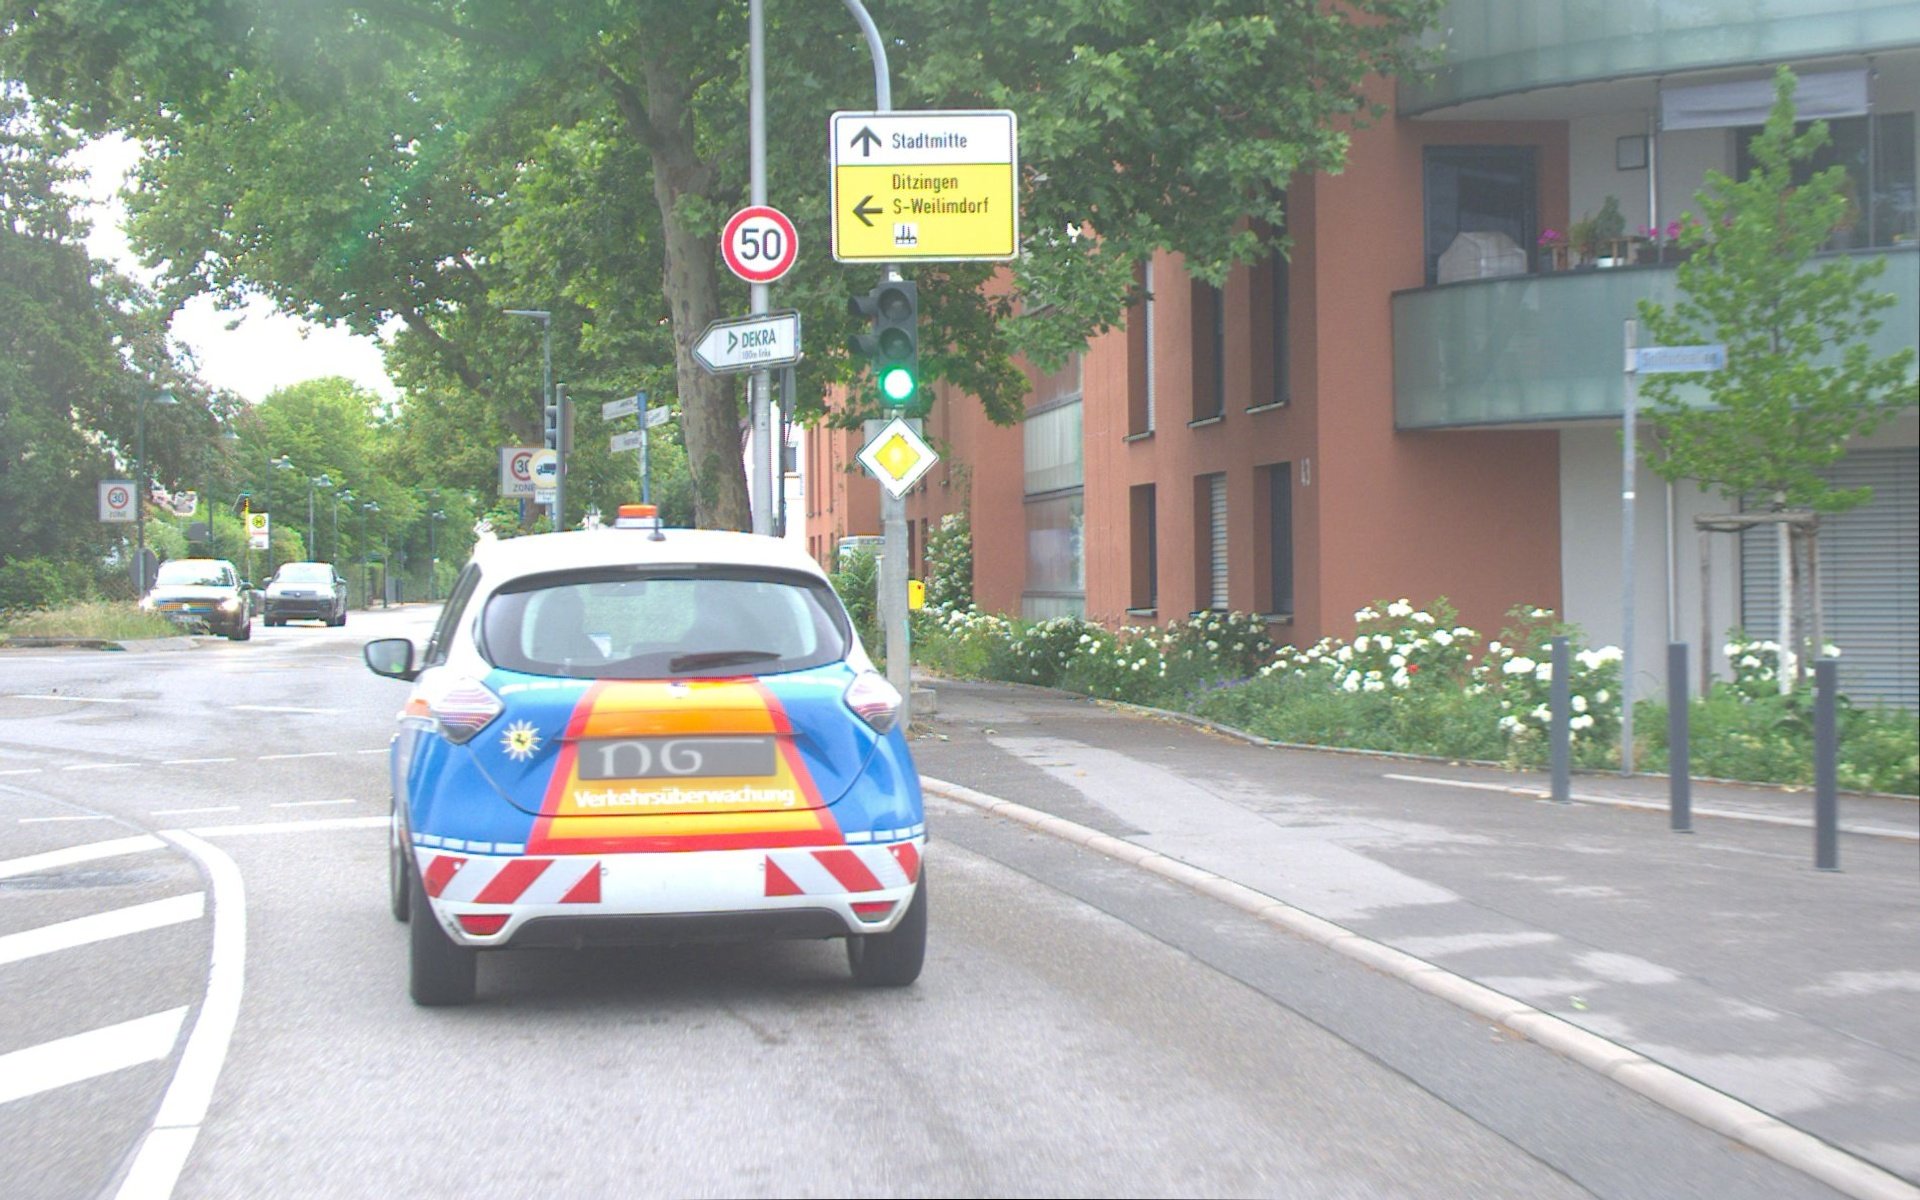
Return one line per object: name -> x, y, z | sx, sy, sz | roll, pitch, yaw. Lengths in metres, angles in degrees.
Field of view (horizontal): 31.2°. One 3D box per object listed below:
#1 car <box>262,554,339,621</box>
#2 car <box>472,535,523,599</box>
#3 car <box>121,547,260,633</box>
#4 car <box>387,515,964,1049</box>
car -> -17.274, -0.341, 90.132 | 1.877, 1.663, 3.715 | 0, 1, -9
car -> -15.146, -1.102, 112.689 | 1.643, 2.010, 3.716 | 0, 2, -7
car -> -13.734, -0.178, 61.560 | 1.941, 1.447, 4.300 | 1, 0, -6
car -> -1.170, 0.503, 12.550 | 1.745, 1.575, 4.001 | -1, 2, -9
